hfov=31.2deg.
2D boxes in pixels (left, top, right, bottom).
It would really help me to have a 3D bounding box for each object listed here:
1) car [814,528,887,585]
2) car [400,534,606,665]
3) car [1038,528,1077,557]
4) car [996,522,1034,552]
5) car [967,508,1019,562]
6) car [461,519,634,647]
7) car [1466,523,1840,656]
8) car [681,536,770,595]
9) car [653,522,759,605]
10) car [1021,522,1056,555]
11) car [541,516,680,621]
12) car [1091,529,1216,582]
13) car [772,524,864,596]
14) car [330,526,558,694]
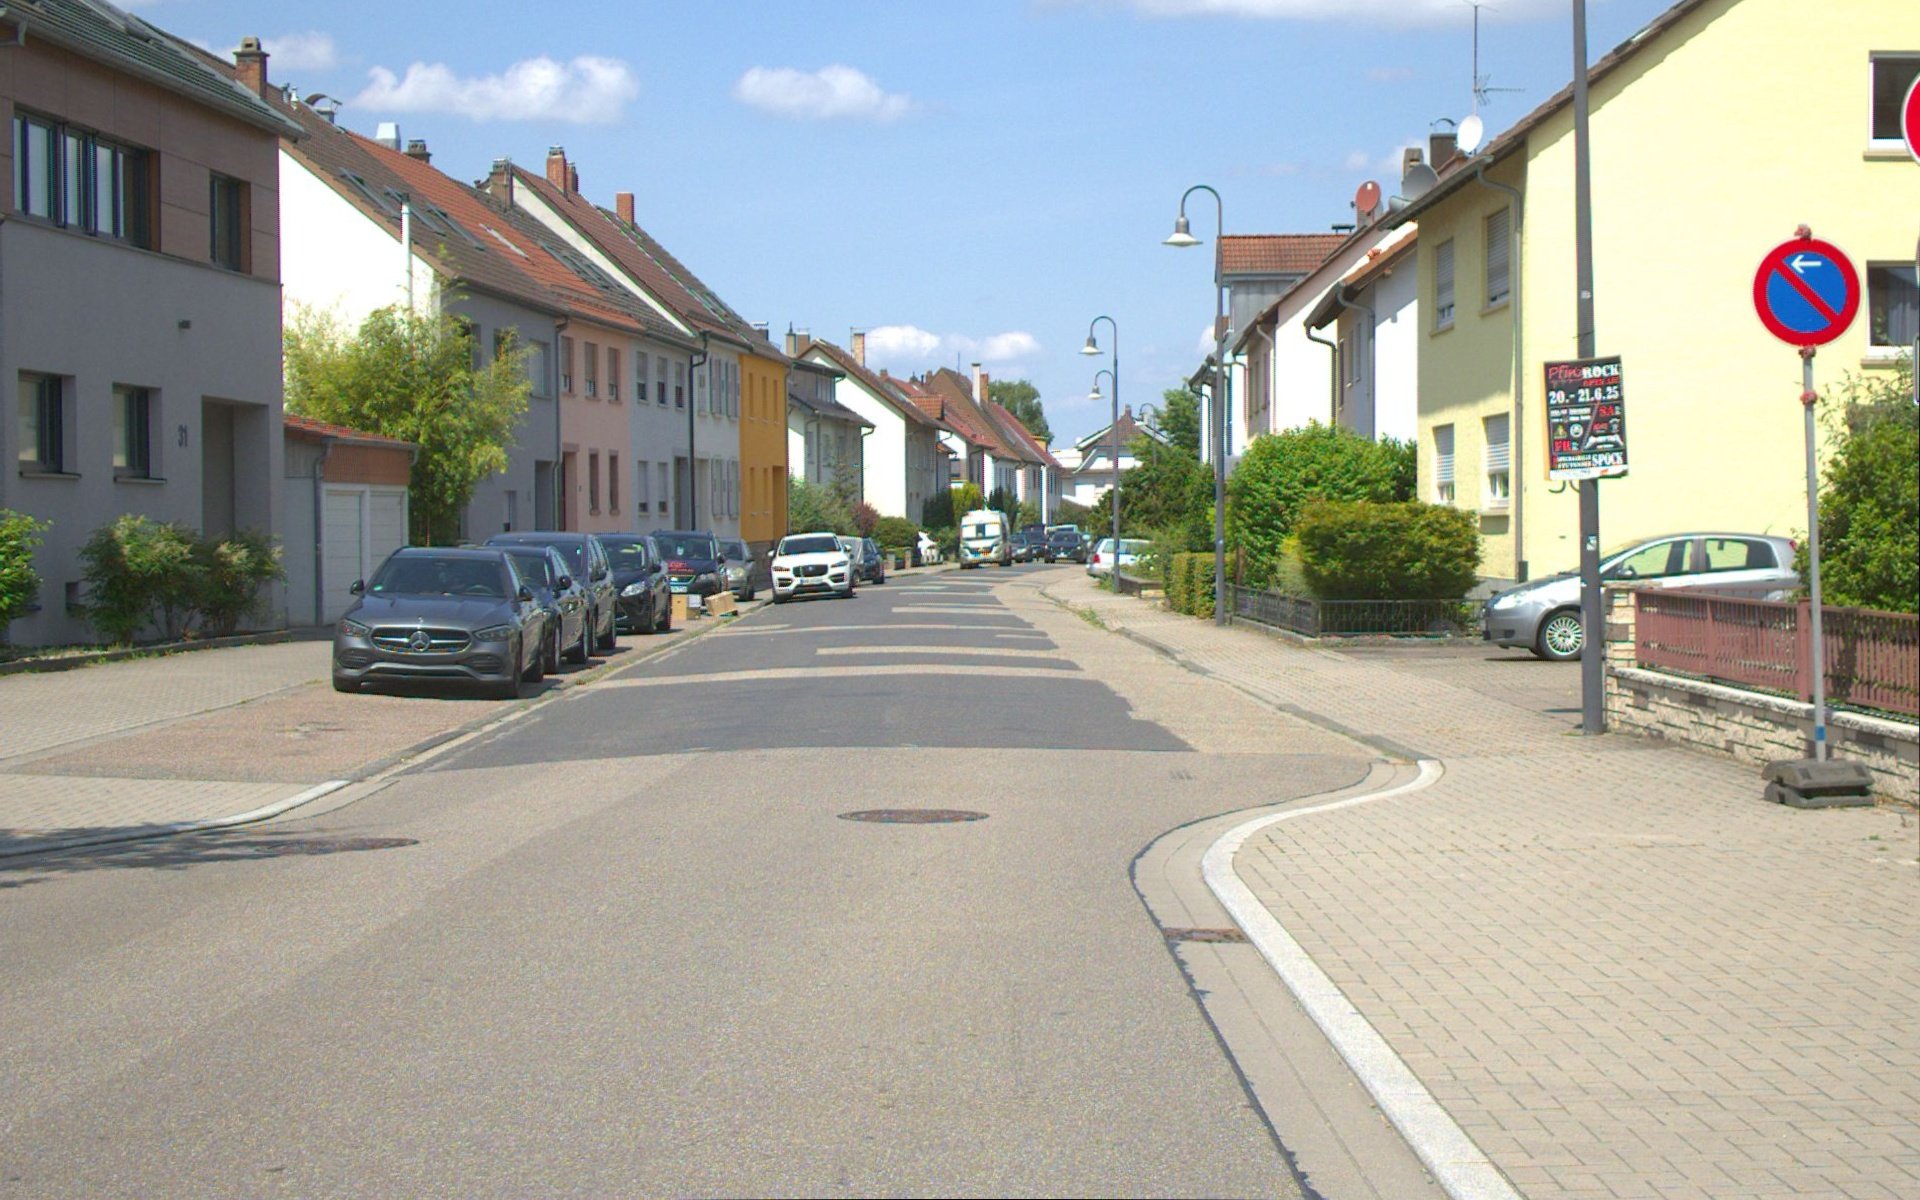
[{"bbox_3d":[-3.325,-1.345,105.369,1.850,1.653,4.000,2,1,3],"label":"car"},{"bbox_3d":[-5.404,-0.043,41.093,1.816,1.429,4.139,2,1,1],"label":"car"},{"bbox_3d":[4.700,-2.740,165.119,1.692,1.337,3.771,1,1,4],"label":"car"},{"bbox_3d":[2.843,-3.228,176.165,1.692,1.498,3.771,1,1,4],"label":"car"},{"bbox_3d":[1.485,-2.904,154.131,2.045,2.304,3.771,1,1,4],"label":"car"},{"bbox_3d":[-5.564,-0.260,46.765,1.779,1.603,4.000,2,1,1],"label":"car"},{"bbox_3d":[7.983,-0.140,39.868,3.987,1.468,1.746,-1,1,1],"label":"car"},{"bbox_3d":[-5.672,-0.849,83.406,1.672,1.331,3.722,2,1,3],"label":"car"},{"bbox_3d":[-5.231,-0.772,71.225,1.811,1.603,4.000,2,1,1],"label":"car"},{"bbox_3d":[4.202,-3.280,183.621,1.692,1.654,3.771,1,1,4],"label":"car"},{"bbox_3d":[-5.703,-0.535,56.449,1.779,1.603,4.000,2,1,1],"label":"car"},{"bbox_3d":[5.614,-1.294,100.070,3.523,1.459,1.628,1,0,1],"label":"car"},{"bbox_3d":[-3.461,-1.000,84.354,1.850,1.653,4.000,2,1,3],"label":"car"},{"bbox_3d":[-5.253,0.055,35.464,1.816,1.428,4.140,3,2,-2],"label":"car"}]
